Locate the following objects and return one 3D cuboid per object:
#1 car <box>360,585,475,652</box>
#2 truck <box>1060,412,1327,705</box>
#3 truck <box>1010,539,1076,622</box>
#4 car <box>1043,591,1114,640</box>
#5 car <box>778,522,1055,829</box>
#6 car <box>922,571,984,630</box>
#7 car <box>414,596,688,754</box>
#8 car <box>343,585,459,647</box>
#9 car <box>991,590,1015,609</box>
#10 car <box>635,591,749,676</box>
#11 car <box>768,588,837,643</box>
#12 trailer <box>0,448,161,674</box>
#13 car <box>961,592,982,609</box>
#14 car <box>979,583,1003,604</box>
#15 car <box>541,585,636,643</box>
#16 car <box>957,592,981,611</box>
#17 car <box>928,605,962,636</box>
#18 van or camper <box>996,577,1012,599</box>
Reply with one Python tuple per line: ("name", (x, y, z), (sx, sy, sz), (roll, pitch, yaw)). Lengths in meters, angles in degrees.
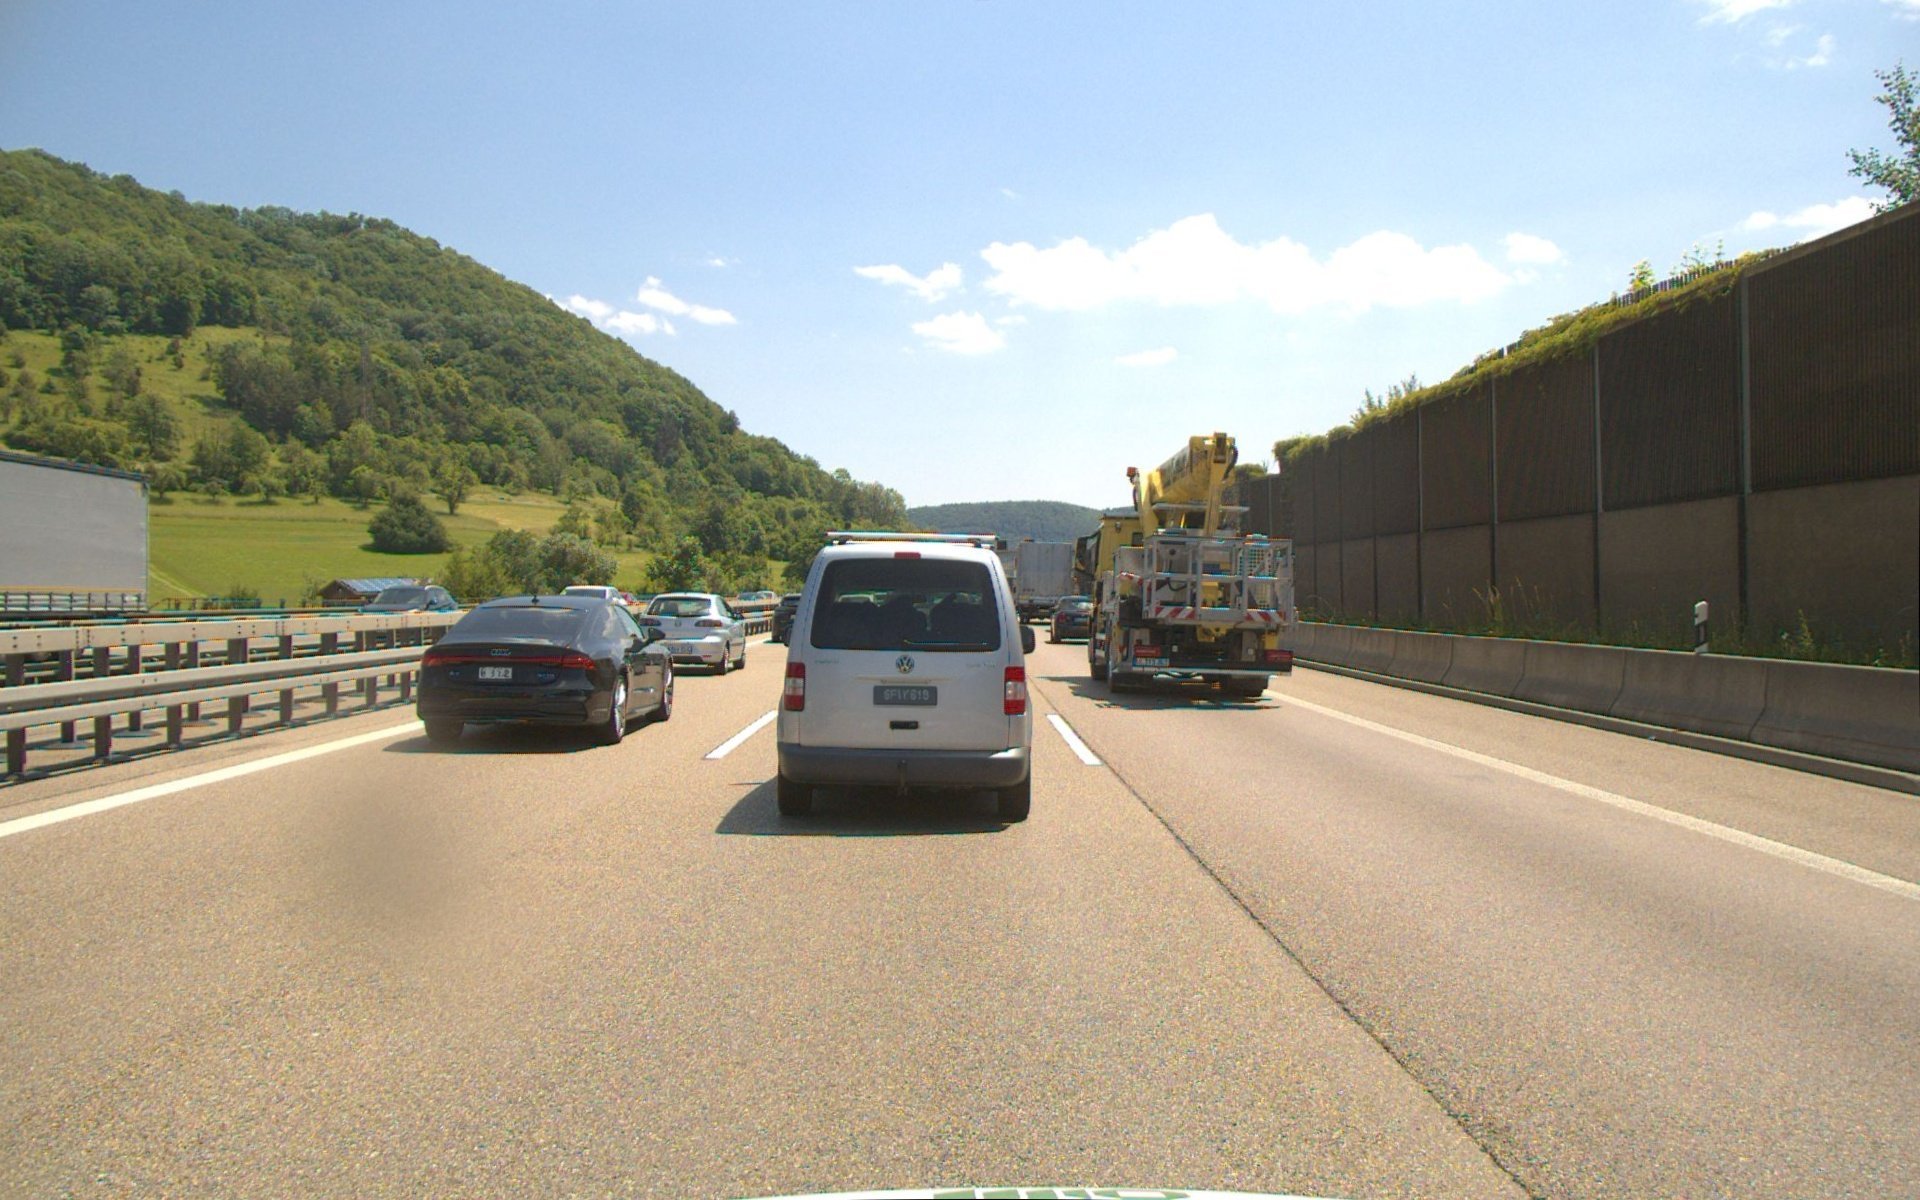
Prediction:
("car", (-15.743, 0.529, 48.245), (1.953, 1.823, 4.275), (1, 0, -1))
("truck", (3.478, -0.586, 27.097), (2.650, 4.011, 8.715), (0, 0, -4))
("truck", (4.082, -0.927, 82.925), (2.880, 3.890, 8.236), (1, 0, 0))
("car", (3.684, 0.454, 52.143), (1.751, 1.484, 3.768), (0, 0, -4))
("car", (-0.384, 0.460, 12.296), (1.721, 1.900, 3.997), (0, 0, -4))
("car", (-0.272, 0.000, 58.058), (1.954, 2.010, 3.997), (0, 0, -4))
("car", (-4.083, 0.669, 17.368), (1.764, 1.415, 4.968), (0, 0, -2))
("car", (-15.690, 0.417, 46.668), (1.831, 1.646, 4.354), (0, 0, -1))
("car", (4.380, -0.010, 169.836), (2.072, 1.859, 3.997), (1, 0, -4))
("car", (-4.853, 0.566, 30.407), (1.662, 1.470, 3.859), (0, 0, -3))
("car", (-4.649, 0.432, 49.231), (1.887, 1.525, 3.997), (1, 0, -4))
("trailer", (-19.773, -0.758, 31.116), (3.181, 4.278, 12.998), (1, 0, 0))
("car", (1.322, 0.014, 186.830), (2.072, 1.859, 3.997), (1, 0, -4))
("car", (2.672, -0.535, 143.368), (1.953, 1.779, 3.999), (1, 0, -1))
("car", (-11.496, 0.408, 51.458), (1.953, 1.723, 4.509), (1, 0, -1))
("car", (0.895, 0.169, 164.181), (2.072, 1.859, 3.997), (1, 0, -4))
("car", (-0.968, 1.273, 103.617), (2.071, 1.859, 3.999), (1, 0, -1))
("van or camper", (6.078, -1.646, 228.219), (1.953, 3.005, 5.422), (1, 0, -1))
